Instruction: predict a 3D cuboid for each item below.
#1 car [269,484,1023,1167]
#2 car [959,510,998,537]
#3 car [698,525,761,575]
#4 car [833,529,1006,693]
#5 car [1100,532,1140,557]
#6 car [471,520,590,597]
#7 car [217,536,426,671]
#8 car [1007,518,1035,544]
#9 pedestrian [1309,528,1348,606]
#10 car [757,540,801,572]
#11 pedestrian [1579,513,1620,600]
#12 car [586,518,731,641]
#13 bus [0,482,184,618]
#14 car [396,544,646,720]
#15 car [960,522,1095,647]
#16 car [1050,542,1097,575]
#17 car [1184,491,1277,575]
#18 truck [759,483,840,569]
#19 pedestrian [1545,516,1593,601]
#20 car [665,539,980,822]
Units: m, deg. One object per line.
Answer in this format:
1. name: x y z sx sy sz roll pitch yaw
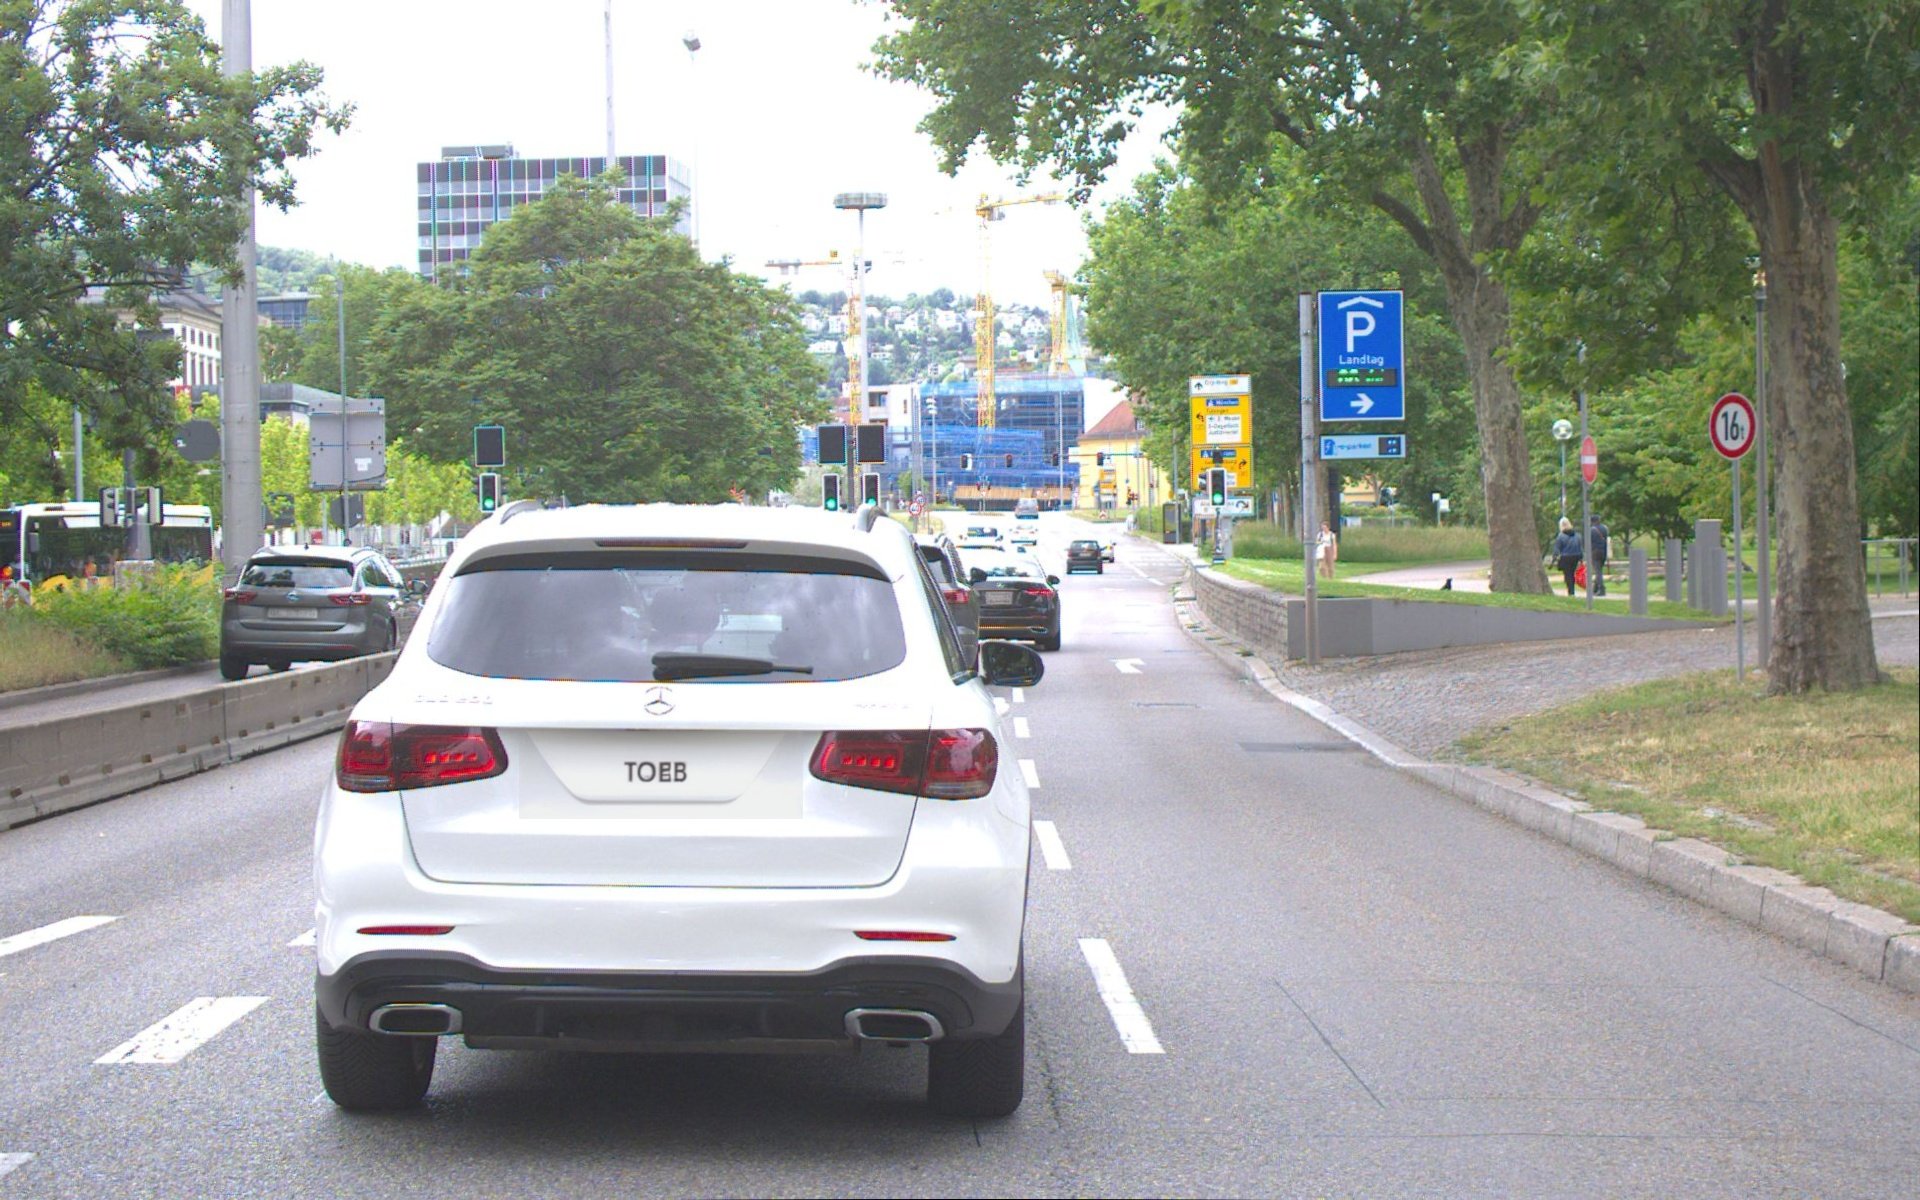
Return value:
1. car: -0.706 0.503 10.388 1.788 1.619 4.437 0 1 1
2. car: 0.957 -3.860 174.194 1.947 1.315 4.017 0 1 1
3. car: -7.039 -1.533 105.395 1.659 1.508 3.547 -1 1 0
4. car: -0.468 0.075 36.101 1.659 1.633 3.548 0 1 -3
5. car: 8.451 -2.921 181.425 1.947 1.315 4.017 0 1 1
6. car: -8.291 -0.827 66.593 1.776 1.415 4.000 -1 1 0
7. car: -7.110 0.019 38.597 1.661 1.431 3.960 0 0 -1
8. car: 4.120 -4.665 232.143 1.758 1.663 4.168 0 1 0
9. pedestrian: 9.567 -0.854 89.275 0.761 2.007 0.697 0 1 36
10. car: -7.726 -1.883 147.186 1.659 1.315 3.547 0 1 1
11. pedestrian: 12.716 -0.870 68.342 0.759 1.719 0.698 0 1 8
12. car: -4.167 -0.297 48.112 1.851 1.622 4.907 0 0 -3
13. bus: -23.301 -1.303 88.170 3.667 3.194 14.275 -1 1 -1
14. car: -3.762 0.235 30.055 1.797 1.432 4.021 0 1 -2
15. car: 0.952 -0.262 50.613 1.825 1.746 4.000 -1 1 -1
16. car: 4.940 -1.822 150.318 1.947 1.423 4.017 0 1 1
17. car: 6.611 -1.635 84.245 1.993 2.007 4.000 0 1 1
18. truck: -5.506 -2.541 118.771 2.621 2.851 7.079 1 1 -1
19. pedestrian: 11.680 -0.799 65.919 0.660 1.605 0.641 -1 1 -18
20. car: -0.968 0.439 22.185 1.795 1.603 3.756 -2 1 -5
